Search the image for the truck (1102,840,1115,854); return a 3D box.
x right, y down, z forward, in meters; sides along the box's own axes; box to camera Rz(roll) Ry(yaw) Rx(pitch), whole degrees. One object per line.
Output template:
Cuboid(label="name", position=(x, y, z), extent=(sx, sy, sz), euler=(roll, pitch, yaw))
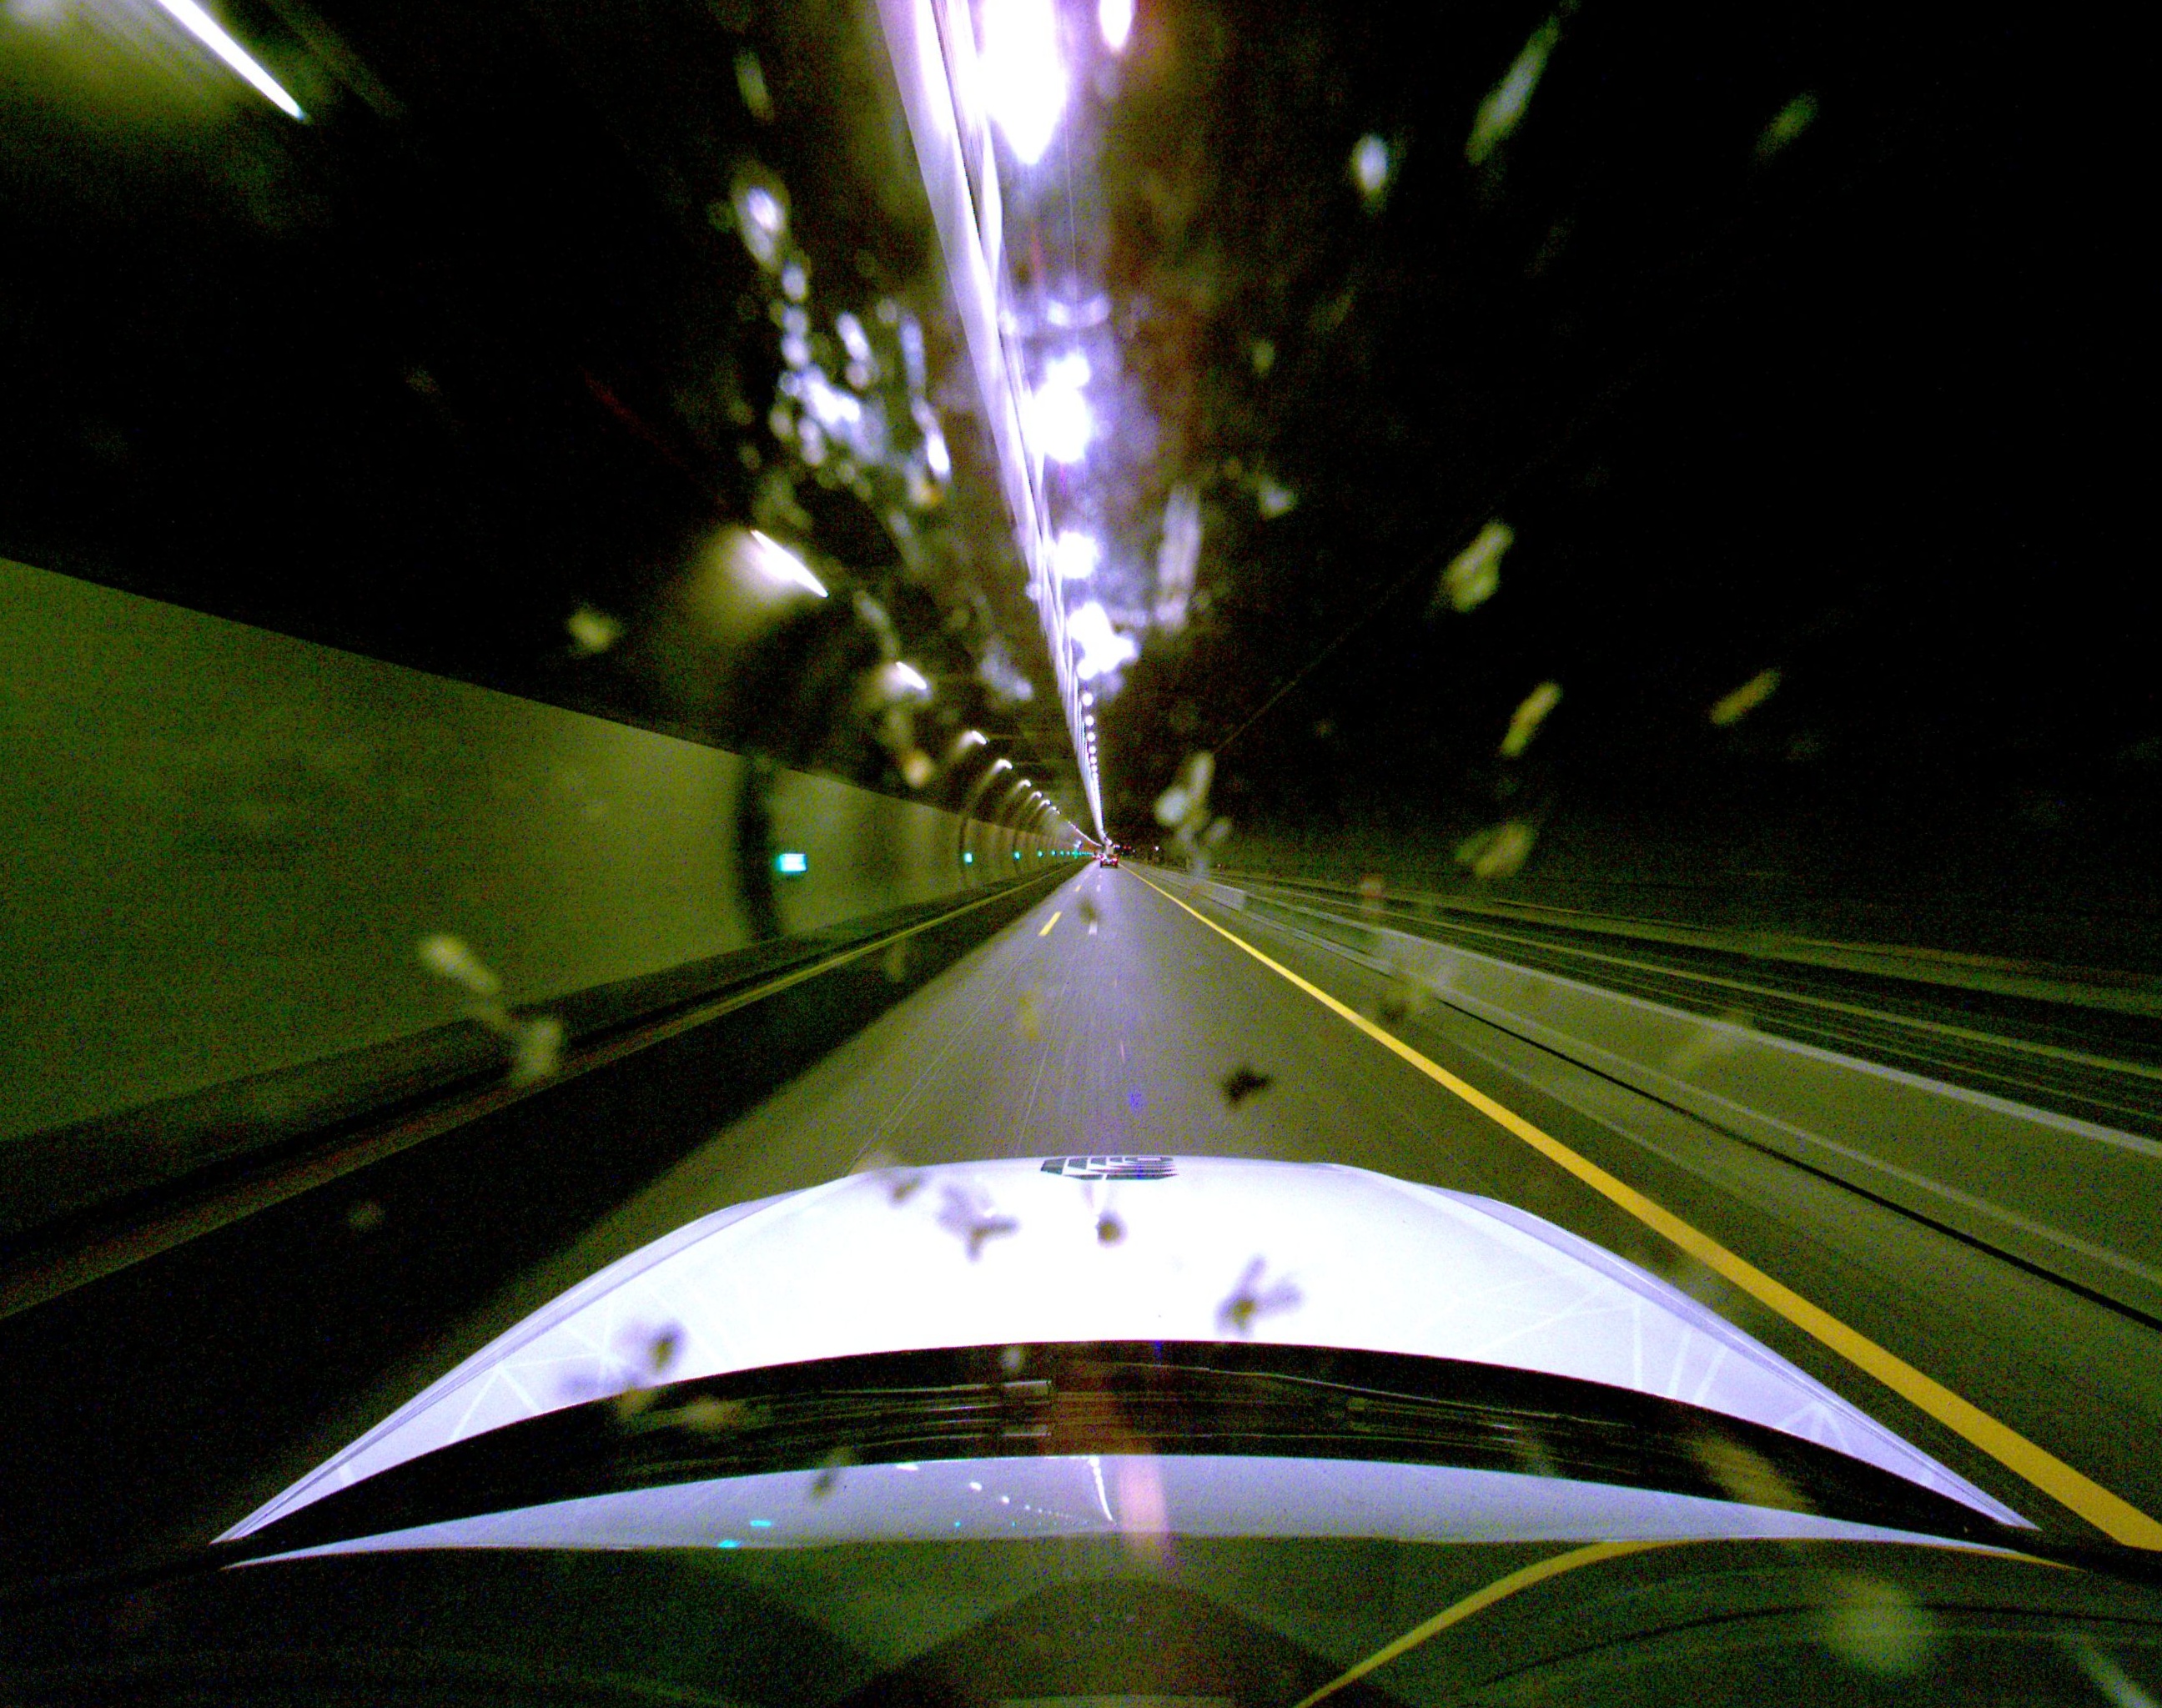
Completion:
Cuboid(label="truck", position=(9.088, -2.148, 266.787), extent=(4.051, 4.532, 14.971), euler=(-1, 0, 2))

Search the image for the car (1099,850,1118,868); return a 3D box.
Cuboid(label="car", position=(2.935, 0.542, 86.417), extent=(1.940, 1.794, 4.000), euler=(-1, 0, 1))

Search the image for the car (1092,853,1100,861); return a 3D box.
Cuboid(label="car", position=(3.642, 0.715, 196.300), extent=(1.922, 1.687, 4.003), euler=(-1, 0, 3))

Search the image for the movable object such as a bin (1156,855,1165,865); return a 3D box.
Cuboid(label="movable object such as a bin", position=(12.727, 0.961, 130.678), extent=(1.230, 1.442, 2.217), euler=(1, 0, 1))

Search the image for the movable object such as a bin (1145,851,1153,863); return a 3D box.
Cuboid(label="movable object such as a bin", position=(12.434, 0.462, 148.816), extent=(1.230, 2.141, 2.217), euler=(1, 0, 1))

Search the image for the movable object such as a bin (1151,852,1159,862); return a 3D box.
Cuboid(label="movable object such as a bin", position=(12.948, 0.458, 142.018), extent=(1.230, 1.718, 2.217), euler=(1, 0, 1))
